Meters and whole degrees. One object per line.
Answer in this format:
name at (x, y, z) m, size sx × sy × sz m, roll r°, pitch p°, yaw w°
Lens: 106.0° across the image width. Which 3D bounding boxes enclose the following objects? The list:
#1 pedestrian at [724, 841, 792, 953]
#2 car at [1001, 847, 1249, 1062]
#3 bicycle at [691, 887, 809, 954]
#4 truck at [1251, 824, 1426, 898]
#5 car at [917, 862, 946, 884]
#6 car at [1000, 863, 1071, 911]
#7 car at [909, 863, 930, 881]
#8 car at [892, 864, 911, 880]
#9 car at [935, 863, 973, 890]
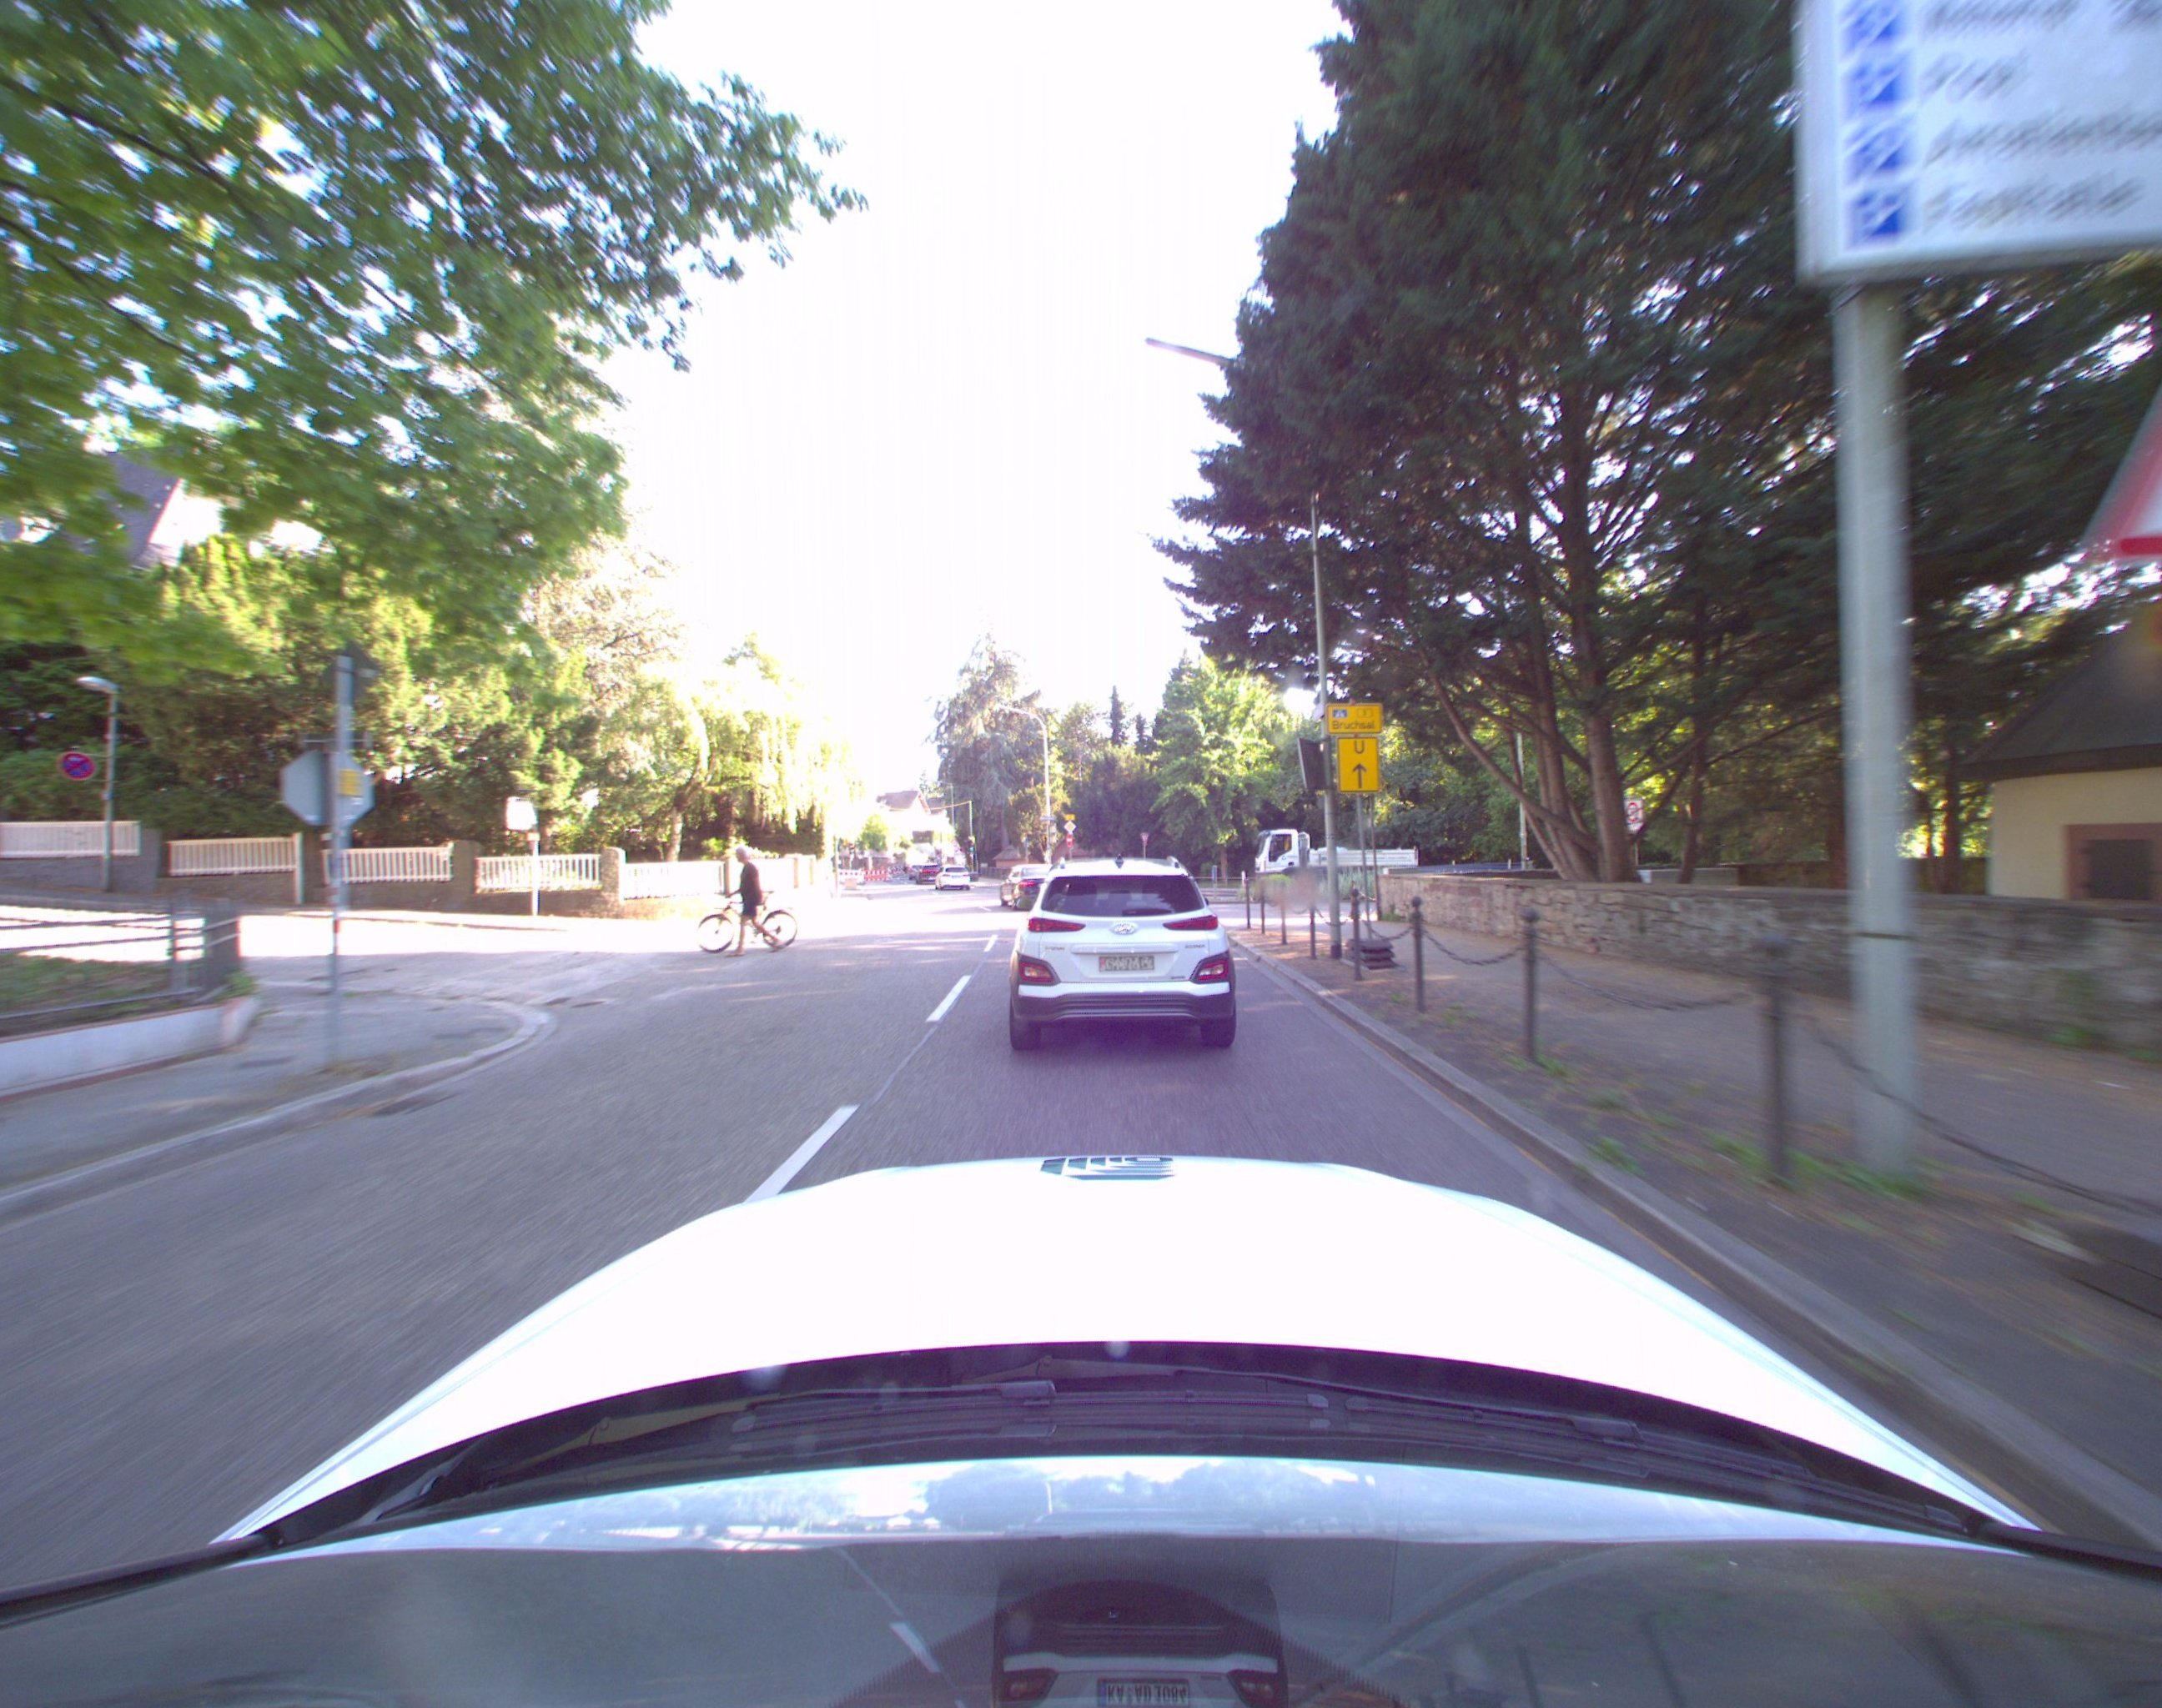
pedestrian at (-5.462, 0.694, 13.762) m, size 0.947 × 1.826 × 0.548 m, roll 1°, pitch 0°, yaw -36°
car at (0.387, 0.752, 7.978) m, size 1.813 × 1.574 × 4.001 m, roll 0°, pitch -1°, yaw 2°
bicycle at (-5.753, 1.128, 14.199) m, size 1.825 × 1.043 × 0.555 m, roll 0°, pitch 1°, yaw -35°
truck at (10.461, 0.289, 33.578) m, size 6.552 × 2.895 × 2.438 m, roll 0°, pitch -1°, yaw 7°
car at (-11.712, 1.476, 63.563) m, size 1.835 × 1.662 × 3.978 m, roll 0°, pitch -1°, yaw -16°
car at (-1.591, 1.027, 26.876) m, size 1.709 × 1.434 × 4.346 m, roll 0°, pitch -1°, yaw -12°
car at (-15.675, 1.705, 78.749) m, size 1.834 × 1.741 × 3.981 m, roll 0°, pitch -1°, yaw -14°
car at (-19.579, 1.937, 88.682) m, size 1.835 × 1.662 × 3.979 m, roll 0°, pitch -1°, yaw -15°
car at (-7.793, 1.345, 49.674) m, size 1.809 × 1.537 × 3.978 m, roll 0°, pitch -1°, yaw -16°
